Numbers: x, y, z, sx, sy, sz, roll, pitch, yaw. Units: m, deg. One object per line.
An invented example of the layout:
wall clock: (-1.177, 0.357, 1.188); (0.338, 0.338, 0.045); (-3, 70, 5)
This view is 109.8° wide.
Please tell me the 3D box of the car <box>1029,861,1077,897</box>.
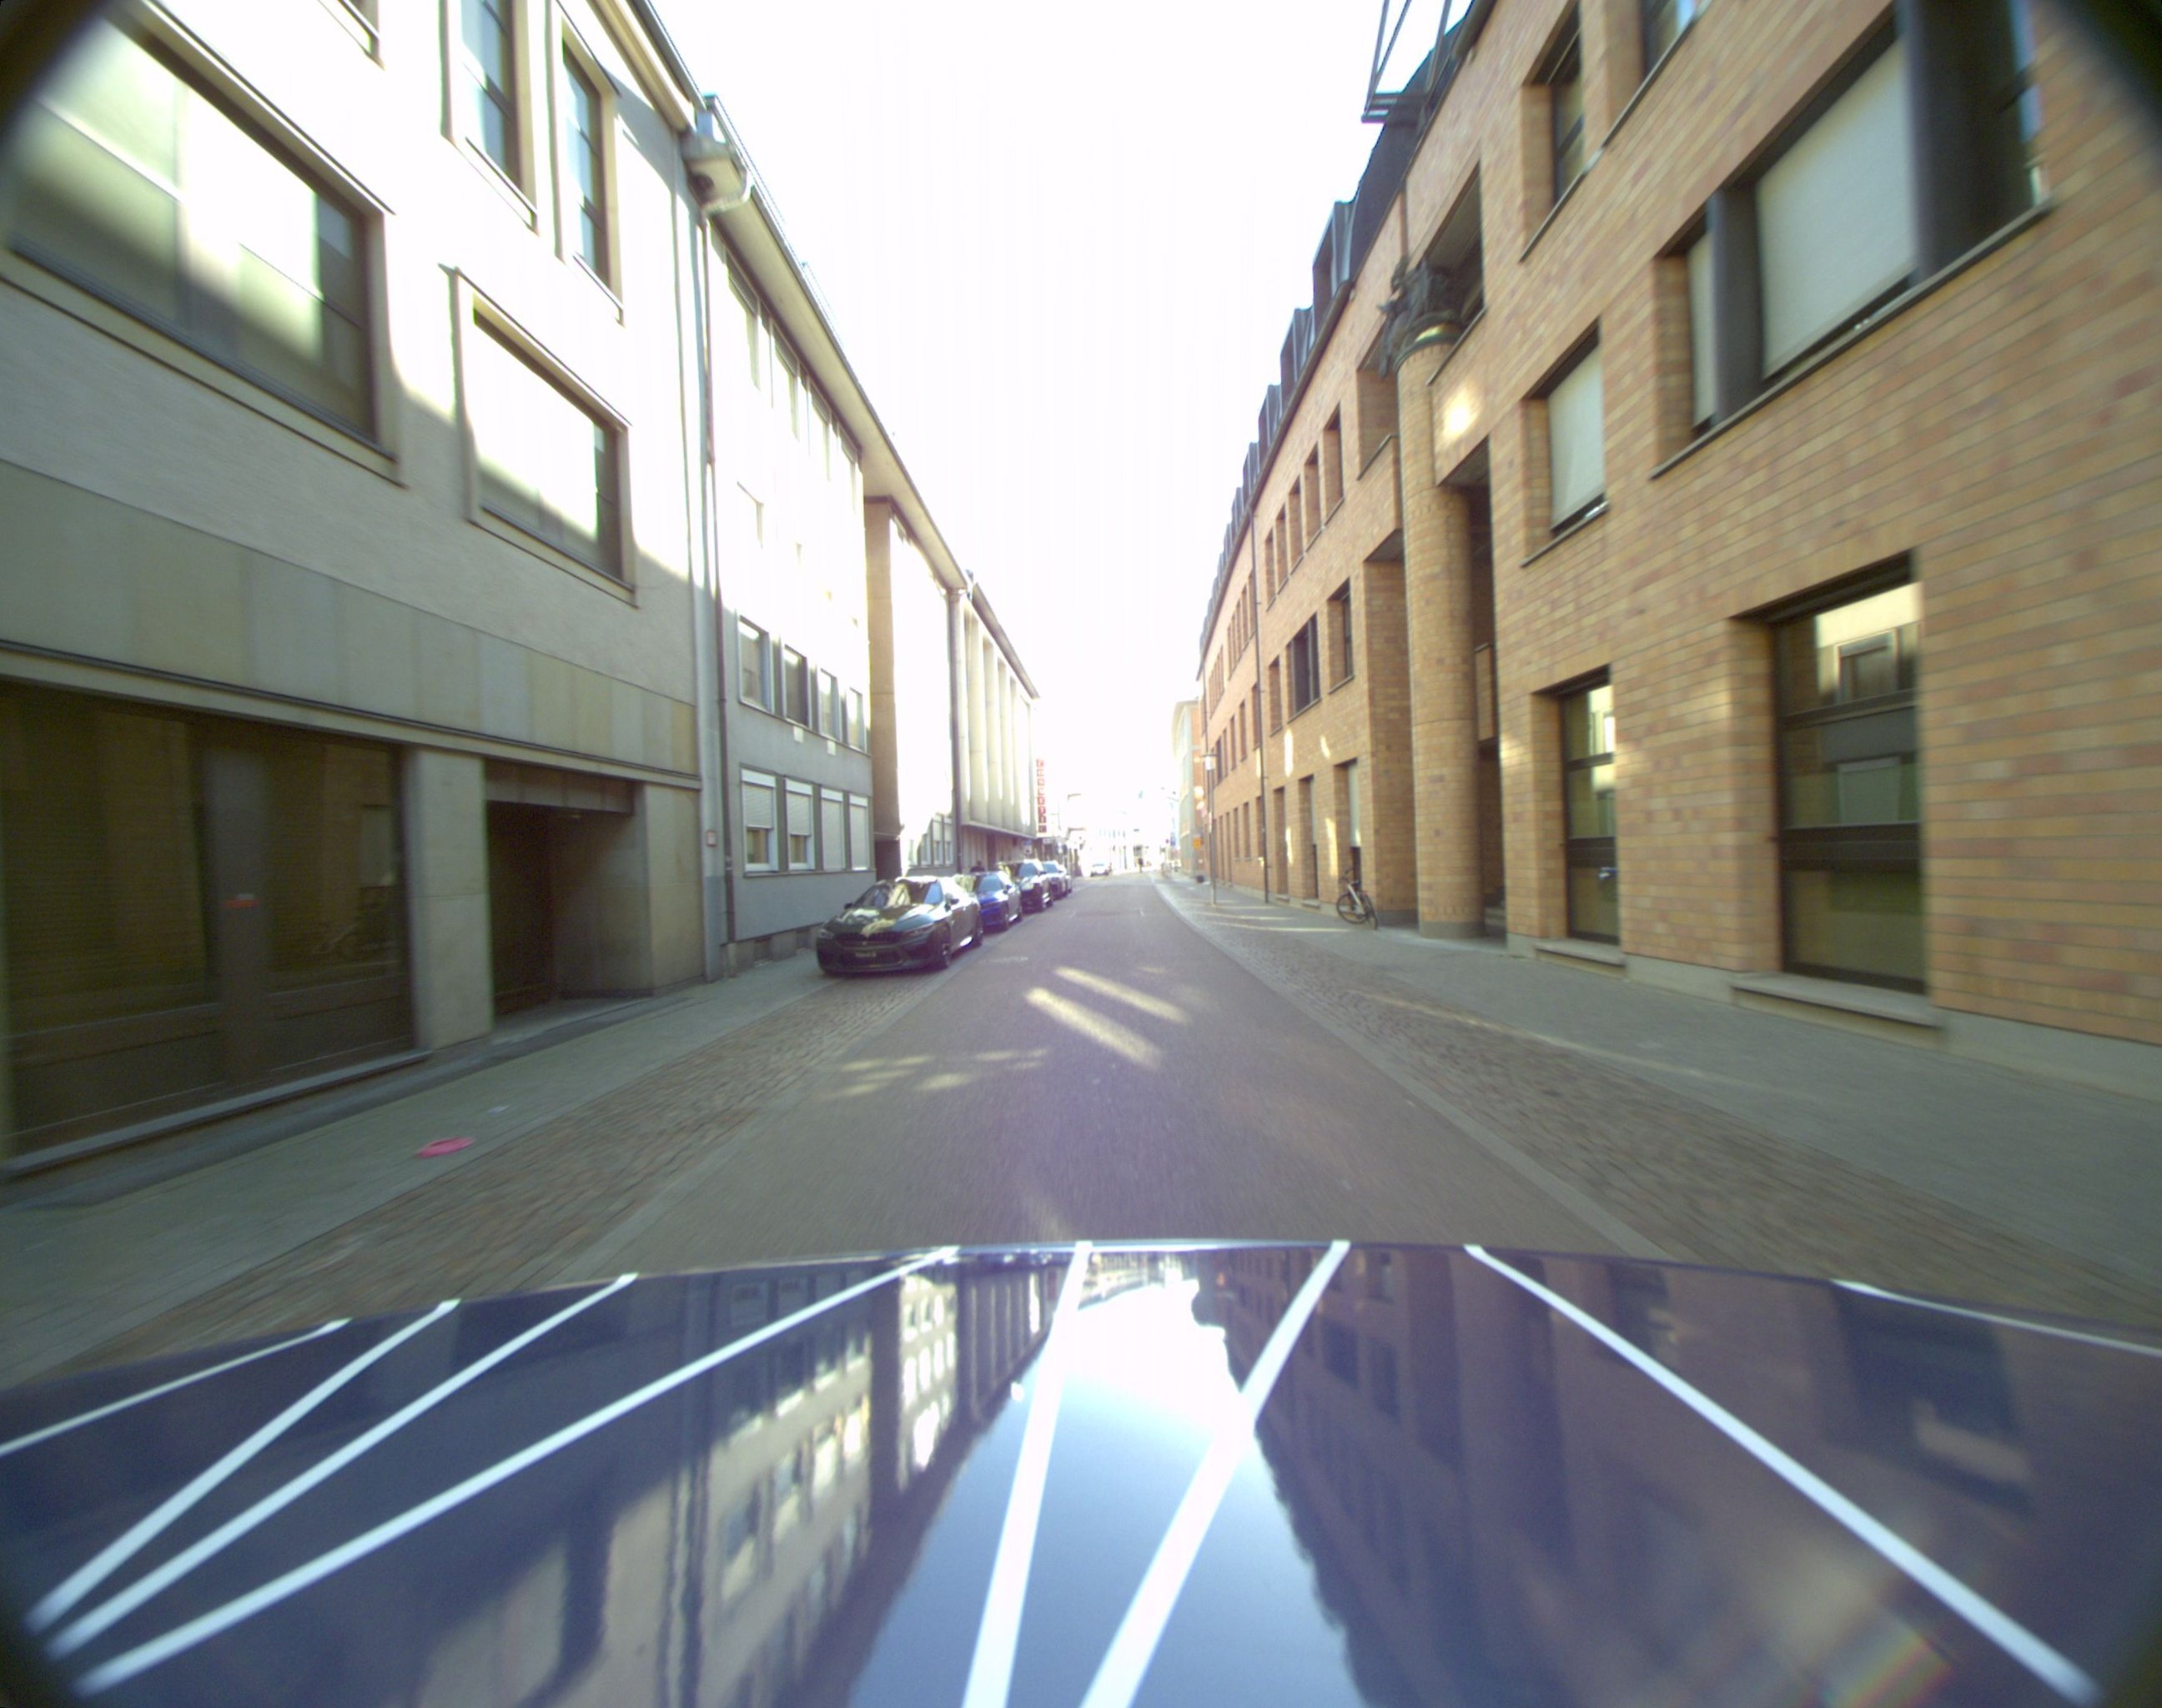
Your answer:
car: (-1.333, 1.204, 38.229); (1.827, 1.496, 4.601); (-5, -1, 4)

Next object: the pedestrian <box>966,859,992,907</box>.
pedestrian: (-3.614, 1.018, 26.958); (0.790, 1.711, 0.746); (0, 0, 3)

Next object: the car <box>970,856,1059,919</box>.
car: (-2.084, 1.023, 25.425); (2.108, 1.775, 5.053); (-4, 0, 4)

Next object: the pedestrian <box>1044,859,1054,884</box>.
pedestrian: (-2.041, 1.099, 48.142); (0.574, 1.532, 0.441); (0, 1, -12)

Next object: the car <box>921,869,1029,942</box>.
car: (-2.520, 1.194, 19.257); (1.811, 1.404, 4.791); (-4, 0, 2)

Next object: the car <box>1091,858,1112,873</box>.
car: (2.139, 1.169, 78.498); (1.846, 1.453, 4.000); (-4, 0, 5)

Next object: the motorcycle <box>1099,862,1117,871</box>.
motorcycle: (3.166, 1.481, 89.581); (1.995, 0.950, 0.646); (-2, 0, 19)

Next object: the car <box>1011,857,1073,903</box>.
car: (-1.598, 1.048, 32.815); (1.998, 1.692, 4.844); (-4, 0, 4)

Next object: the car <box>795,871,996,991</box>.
car: (-2.893, 1.140, 13.232); (1.898, 1.444, 5.226); (-4, 0, 3)
